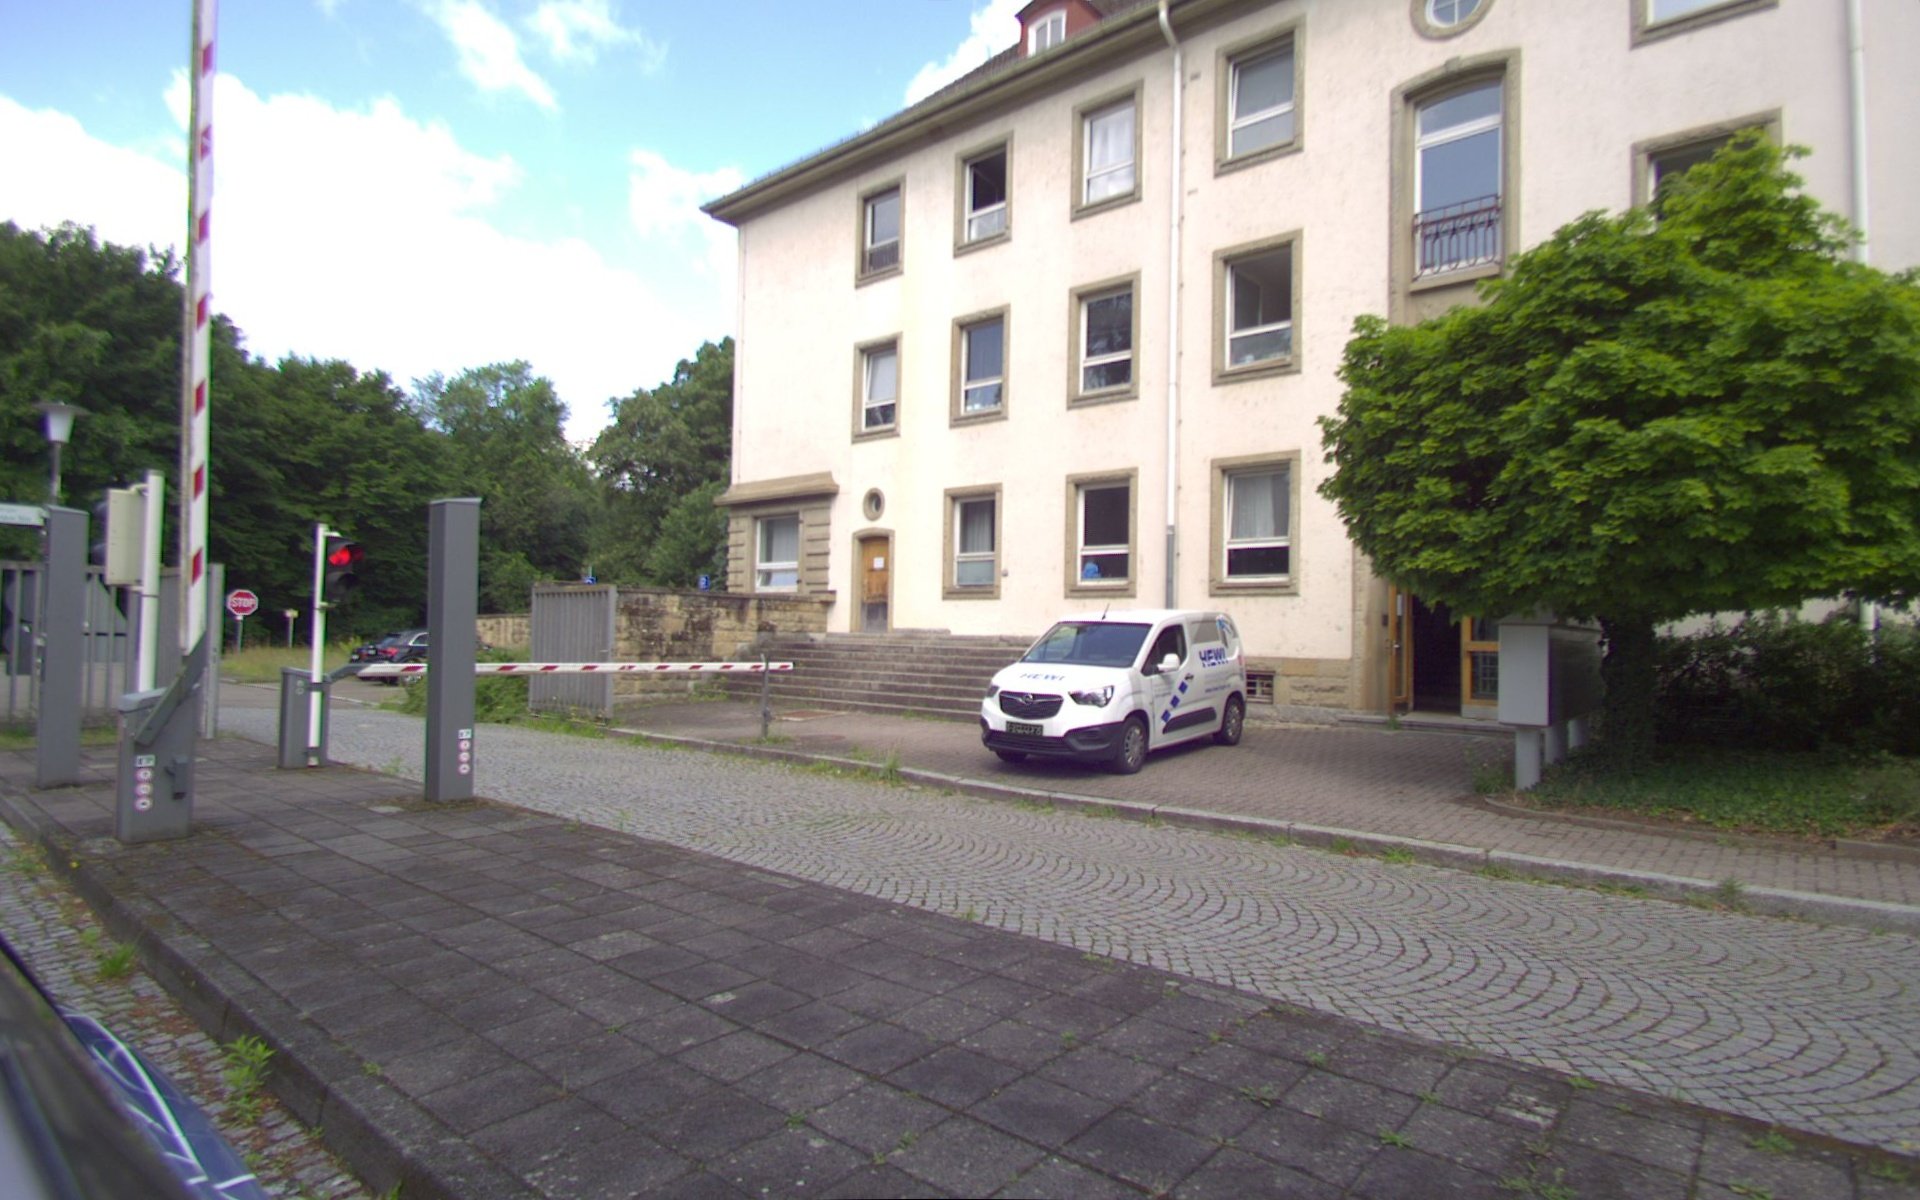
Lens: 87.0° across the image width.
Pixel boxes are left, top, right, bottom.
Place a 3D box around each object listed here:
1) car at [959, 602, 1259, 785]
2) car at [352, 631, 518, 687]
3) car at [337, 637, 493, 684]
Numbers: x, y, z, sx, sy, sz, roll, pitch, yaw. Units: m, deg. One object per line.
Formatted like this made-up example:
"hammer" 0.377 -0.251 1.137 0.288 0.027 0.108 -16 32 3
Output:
"car" 1.998 0.949 12.456 1.818 1.819 4.260 0 0 38
"car" -15.241 1.677 29.499 3.940 1.529 1.803 2 -3 -44
"car" -17.020 1.863 31.691 3.940 1.356 1.803 2 -3 -44
